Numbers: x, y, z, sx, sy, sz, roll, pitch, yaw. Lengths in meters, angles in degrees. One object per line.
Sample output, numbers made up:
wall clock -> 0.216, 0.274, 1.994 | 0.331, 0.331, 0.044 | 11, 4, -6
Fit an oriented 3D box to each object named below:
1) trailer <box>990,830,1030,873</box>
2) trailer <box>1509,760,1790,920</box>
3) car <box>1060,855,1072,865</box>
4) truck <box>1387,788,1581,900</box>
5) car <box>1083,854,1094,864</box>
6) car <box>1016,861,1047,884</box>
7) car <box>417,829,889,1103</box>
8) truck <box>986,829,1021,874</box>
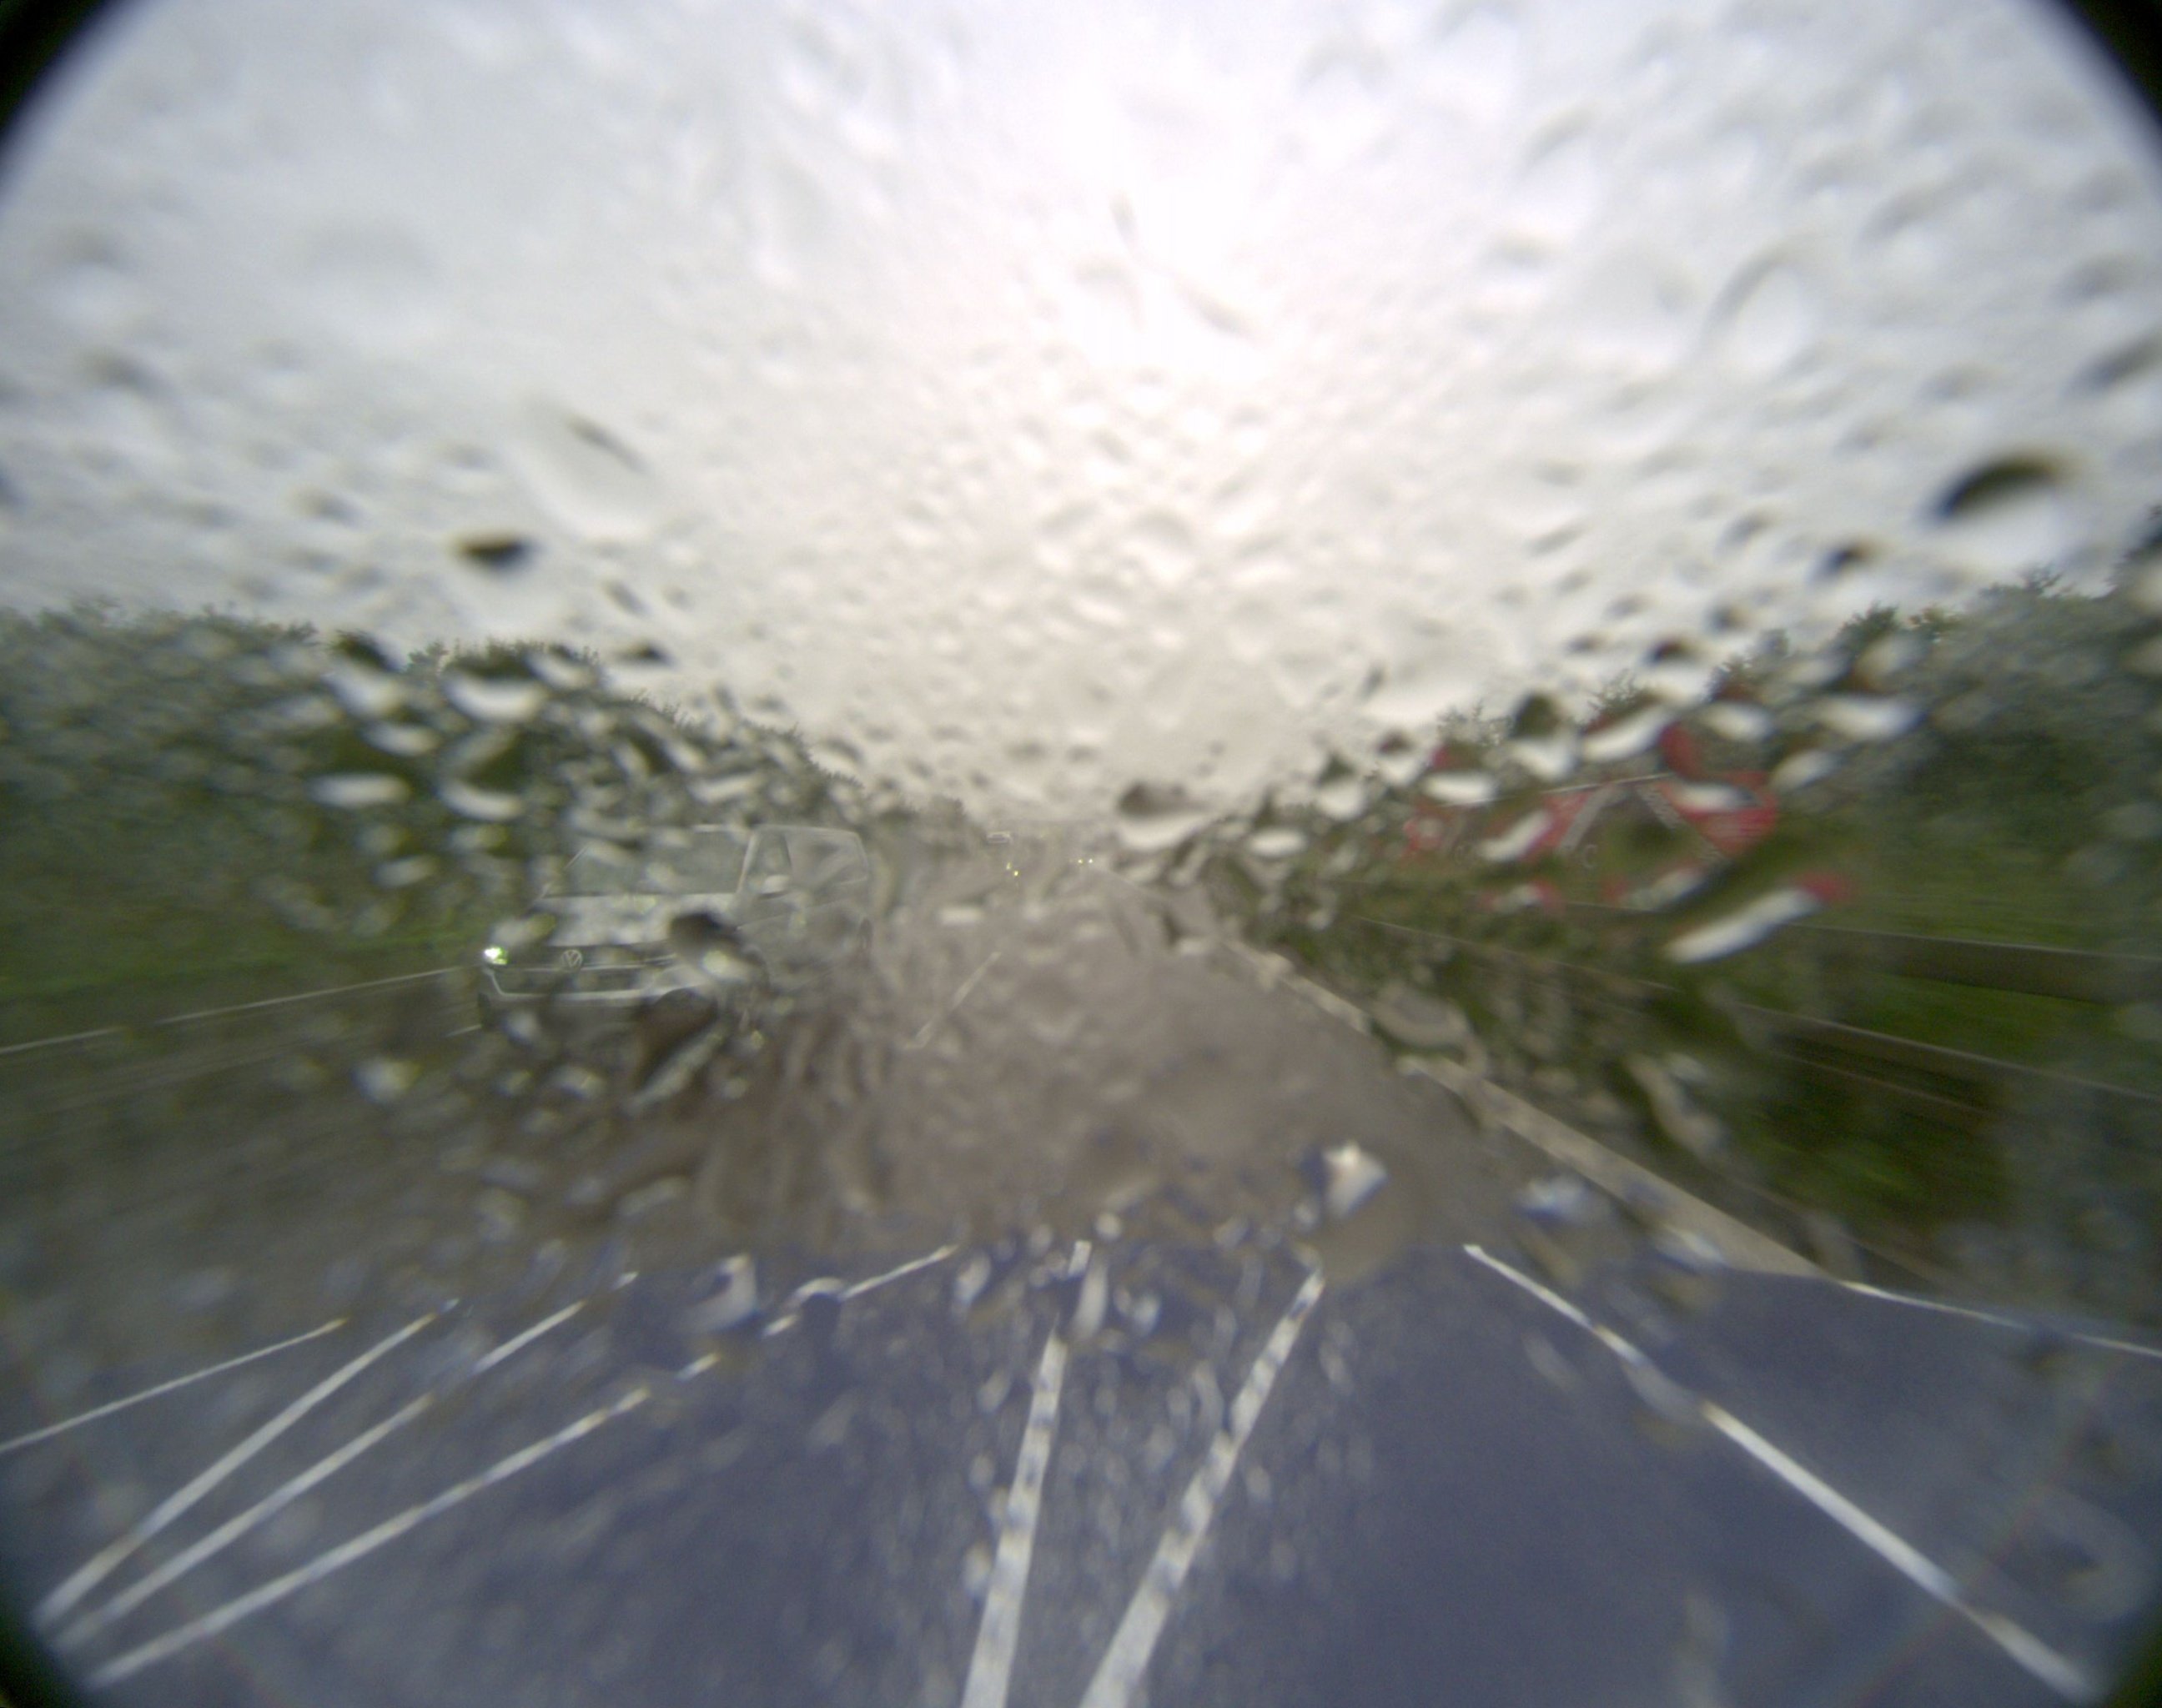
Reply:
trailer -> -7.297, -0.255, 80.032 | 2.618, 4.064, 13.790 | -1, 0, 1
trailer -> 17.653, -0.398, 24.646 | 2.704, 4.206, 8.488 | -2, 0, 0
car -> -2.362, 0.876, 119.523 | 1.769, 1.448, 3.959 | -1, 0, 0
truck -> 17.668, -0.413, 34.651 | 2.704, 4.206, 11.352 | -2, 0, 0
car -> 1.172, 0.721, 117.892 | 1.769, 1.448, 3.959 | -1, 0, 0
car -> -3.401, 1.260, 52.755 | 1.769, 1.448, 3.959 | -1, 0, 0
car -> -3.612, 0.778, 7.795 | 1.892, 1.873, 5.009 | -1, 0, 1
truck -> -7.366, -0.268, 72.768 | 2.618, 4.064, 5.238 | -1, 0, 0
